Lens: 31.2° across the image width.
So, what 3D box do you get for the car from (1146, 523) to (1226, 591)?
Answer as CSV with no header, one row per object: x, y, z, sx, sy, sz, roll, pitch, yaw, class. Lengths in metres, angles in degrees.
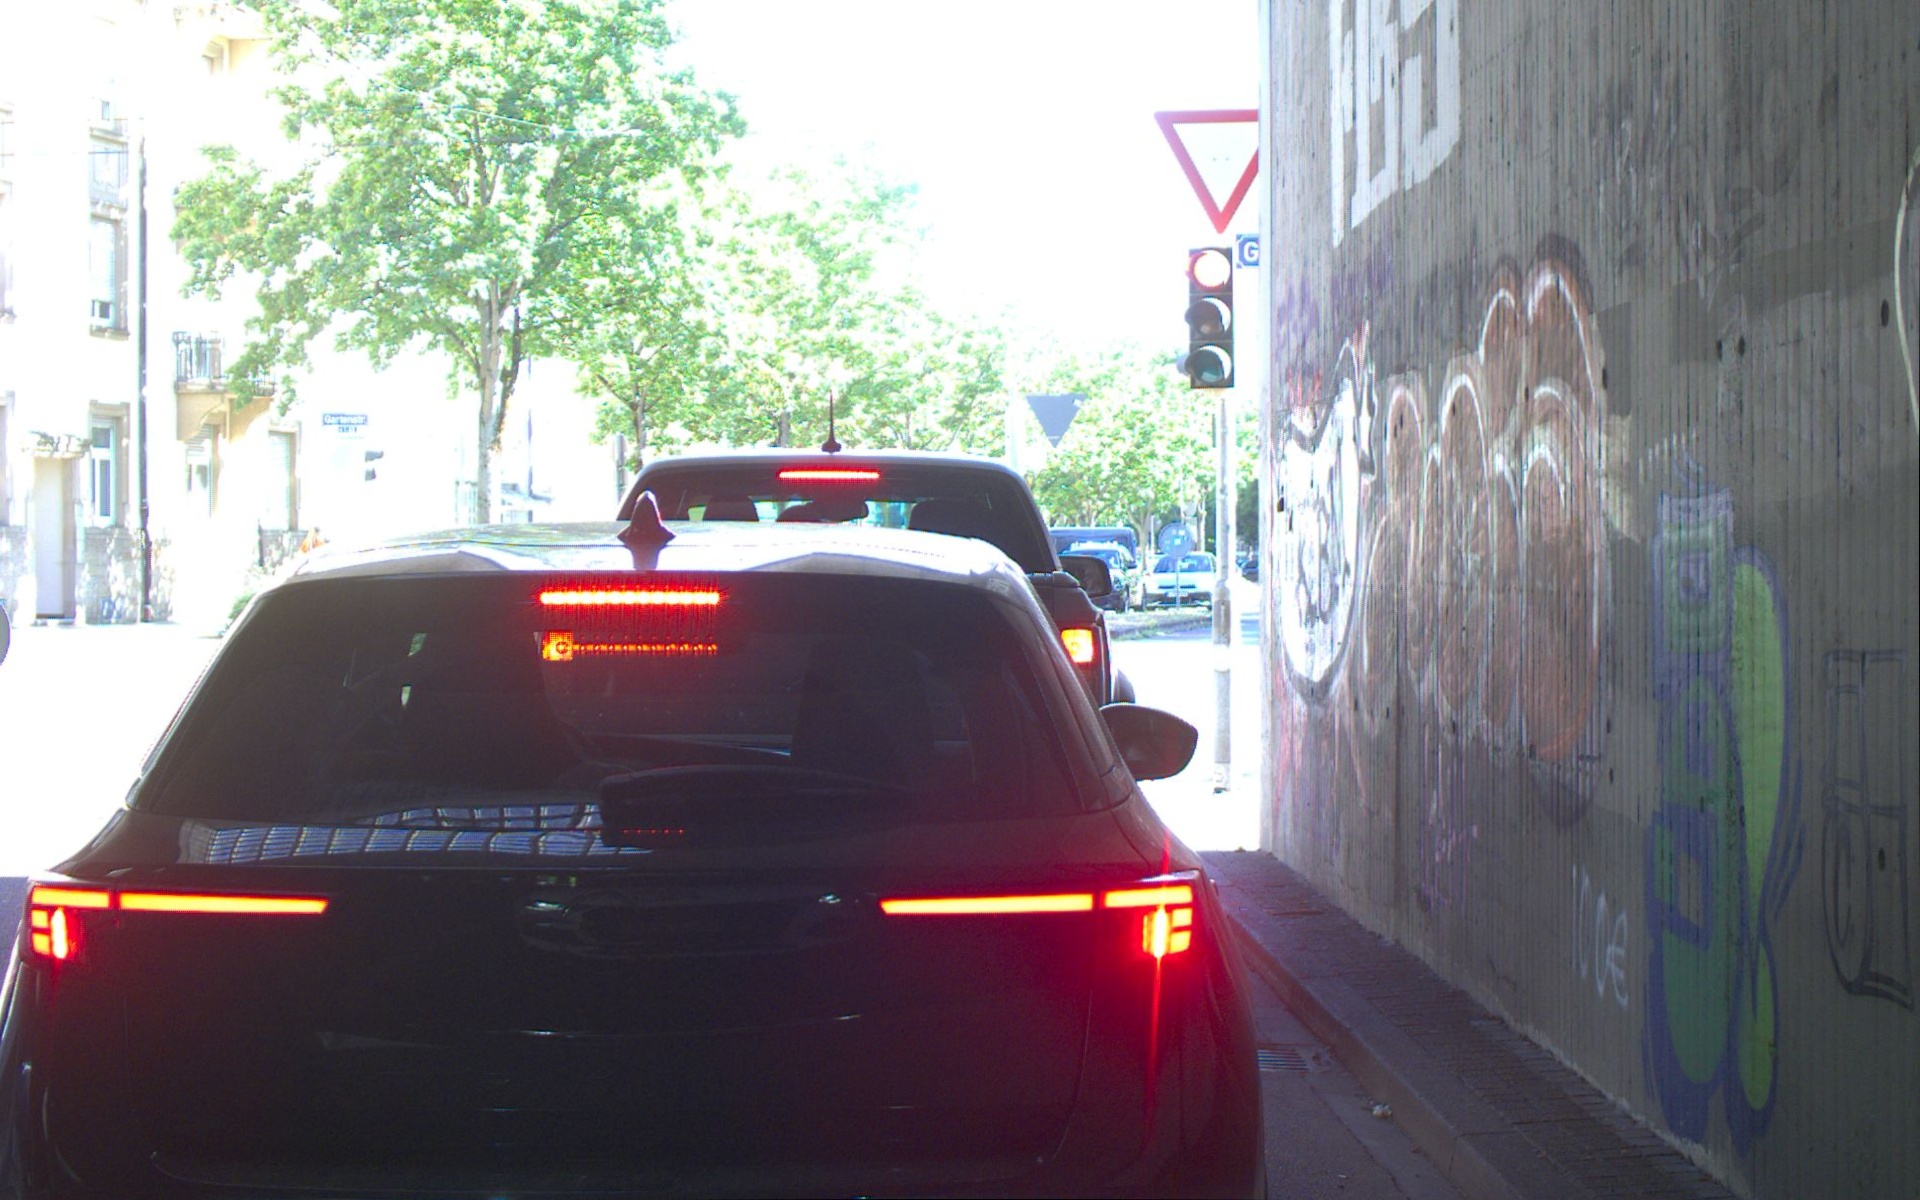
5.580,-1.075,84.652,1.584,1.634,3.804,0,1,10,car

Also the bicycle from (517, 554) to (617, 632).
-5.856,-0.112,51.332,0.737,1.126,2.025,0,1,17,bicycle

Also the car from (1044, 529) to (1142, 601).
2.782,-0.741,71.368,1.599,1.447,3.794,0,1,9,car

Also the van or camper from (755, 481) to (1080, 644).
-0.501,-0.478,43.611,3.878,2.007,2.000,0,1,7,van or camper

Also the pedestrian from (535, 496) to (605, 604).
-5.830,-0.745,51.407,0.736,1.579,0.889,1,0,15,pedestrian

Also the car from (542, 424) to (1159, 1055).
-0.338,0.372,12.043,1.786,1.827,3.961,1,1,0,car

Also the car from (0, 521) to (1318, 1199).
-0.468,0.625,6.134,1.753,1.493,4.000,1,1,0,car

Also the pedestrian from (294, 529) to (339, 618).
-12.359,-0.507,66.035,0.623,1.699,0.723,1,0,7,pedestrian
